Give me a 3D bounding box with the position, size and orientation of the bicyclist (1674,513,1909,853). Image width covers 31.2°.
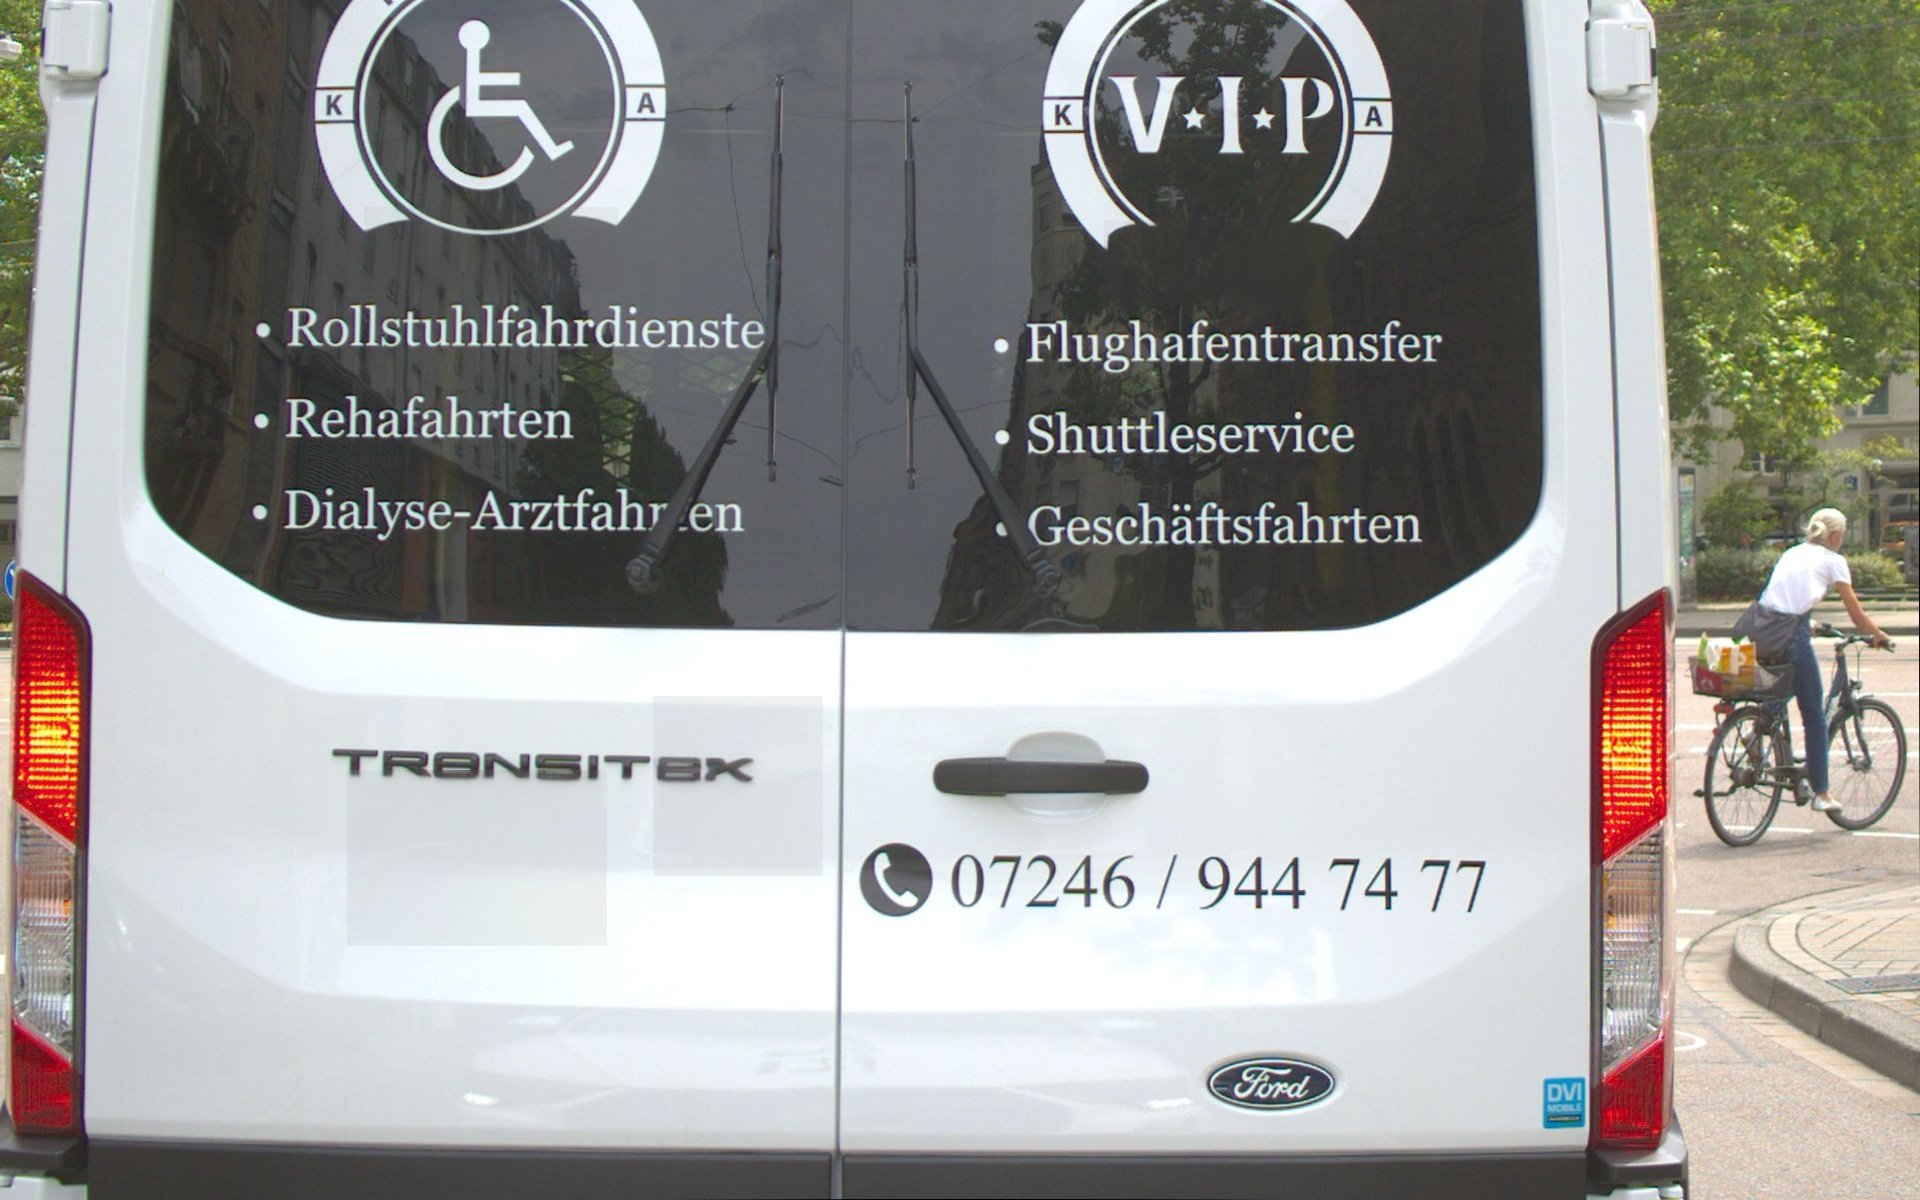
[{"bbox_3d":[4.254,0.400,17.588,0.906,1.677,0.755,0,2,42],"label":"bicyclist"}]

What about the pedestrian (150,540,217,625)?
[{"bbox_3d":[-14.008,-0.323,62.038,0.931,1.509,0.722,0,1,34],"label":"pedestrian"}]

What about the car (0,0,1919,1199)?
[{"bbox_3d":[-0.210,0.058,5.755,2.181,2.638,4.629,1,2,-2],"label":"car"}]

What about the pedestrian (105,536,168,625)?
[{"bbox_3d":[-14.722,-0.349,61.491,0.808,1.567,0.723,0,1,23],"label":"pedestrian"}]

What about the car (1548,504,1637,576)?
[{"bbox_3d":[17.455,-1.668,95.025,1.994,1.924,4.000,-1,1,4],"label":"car"}]

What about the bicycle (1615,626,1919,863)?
[{"bbox_3d":[4.254,0.702,17.582,0.905,1.071,1.965,0,2,41],"label":"bicycle"}]
